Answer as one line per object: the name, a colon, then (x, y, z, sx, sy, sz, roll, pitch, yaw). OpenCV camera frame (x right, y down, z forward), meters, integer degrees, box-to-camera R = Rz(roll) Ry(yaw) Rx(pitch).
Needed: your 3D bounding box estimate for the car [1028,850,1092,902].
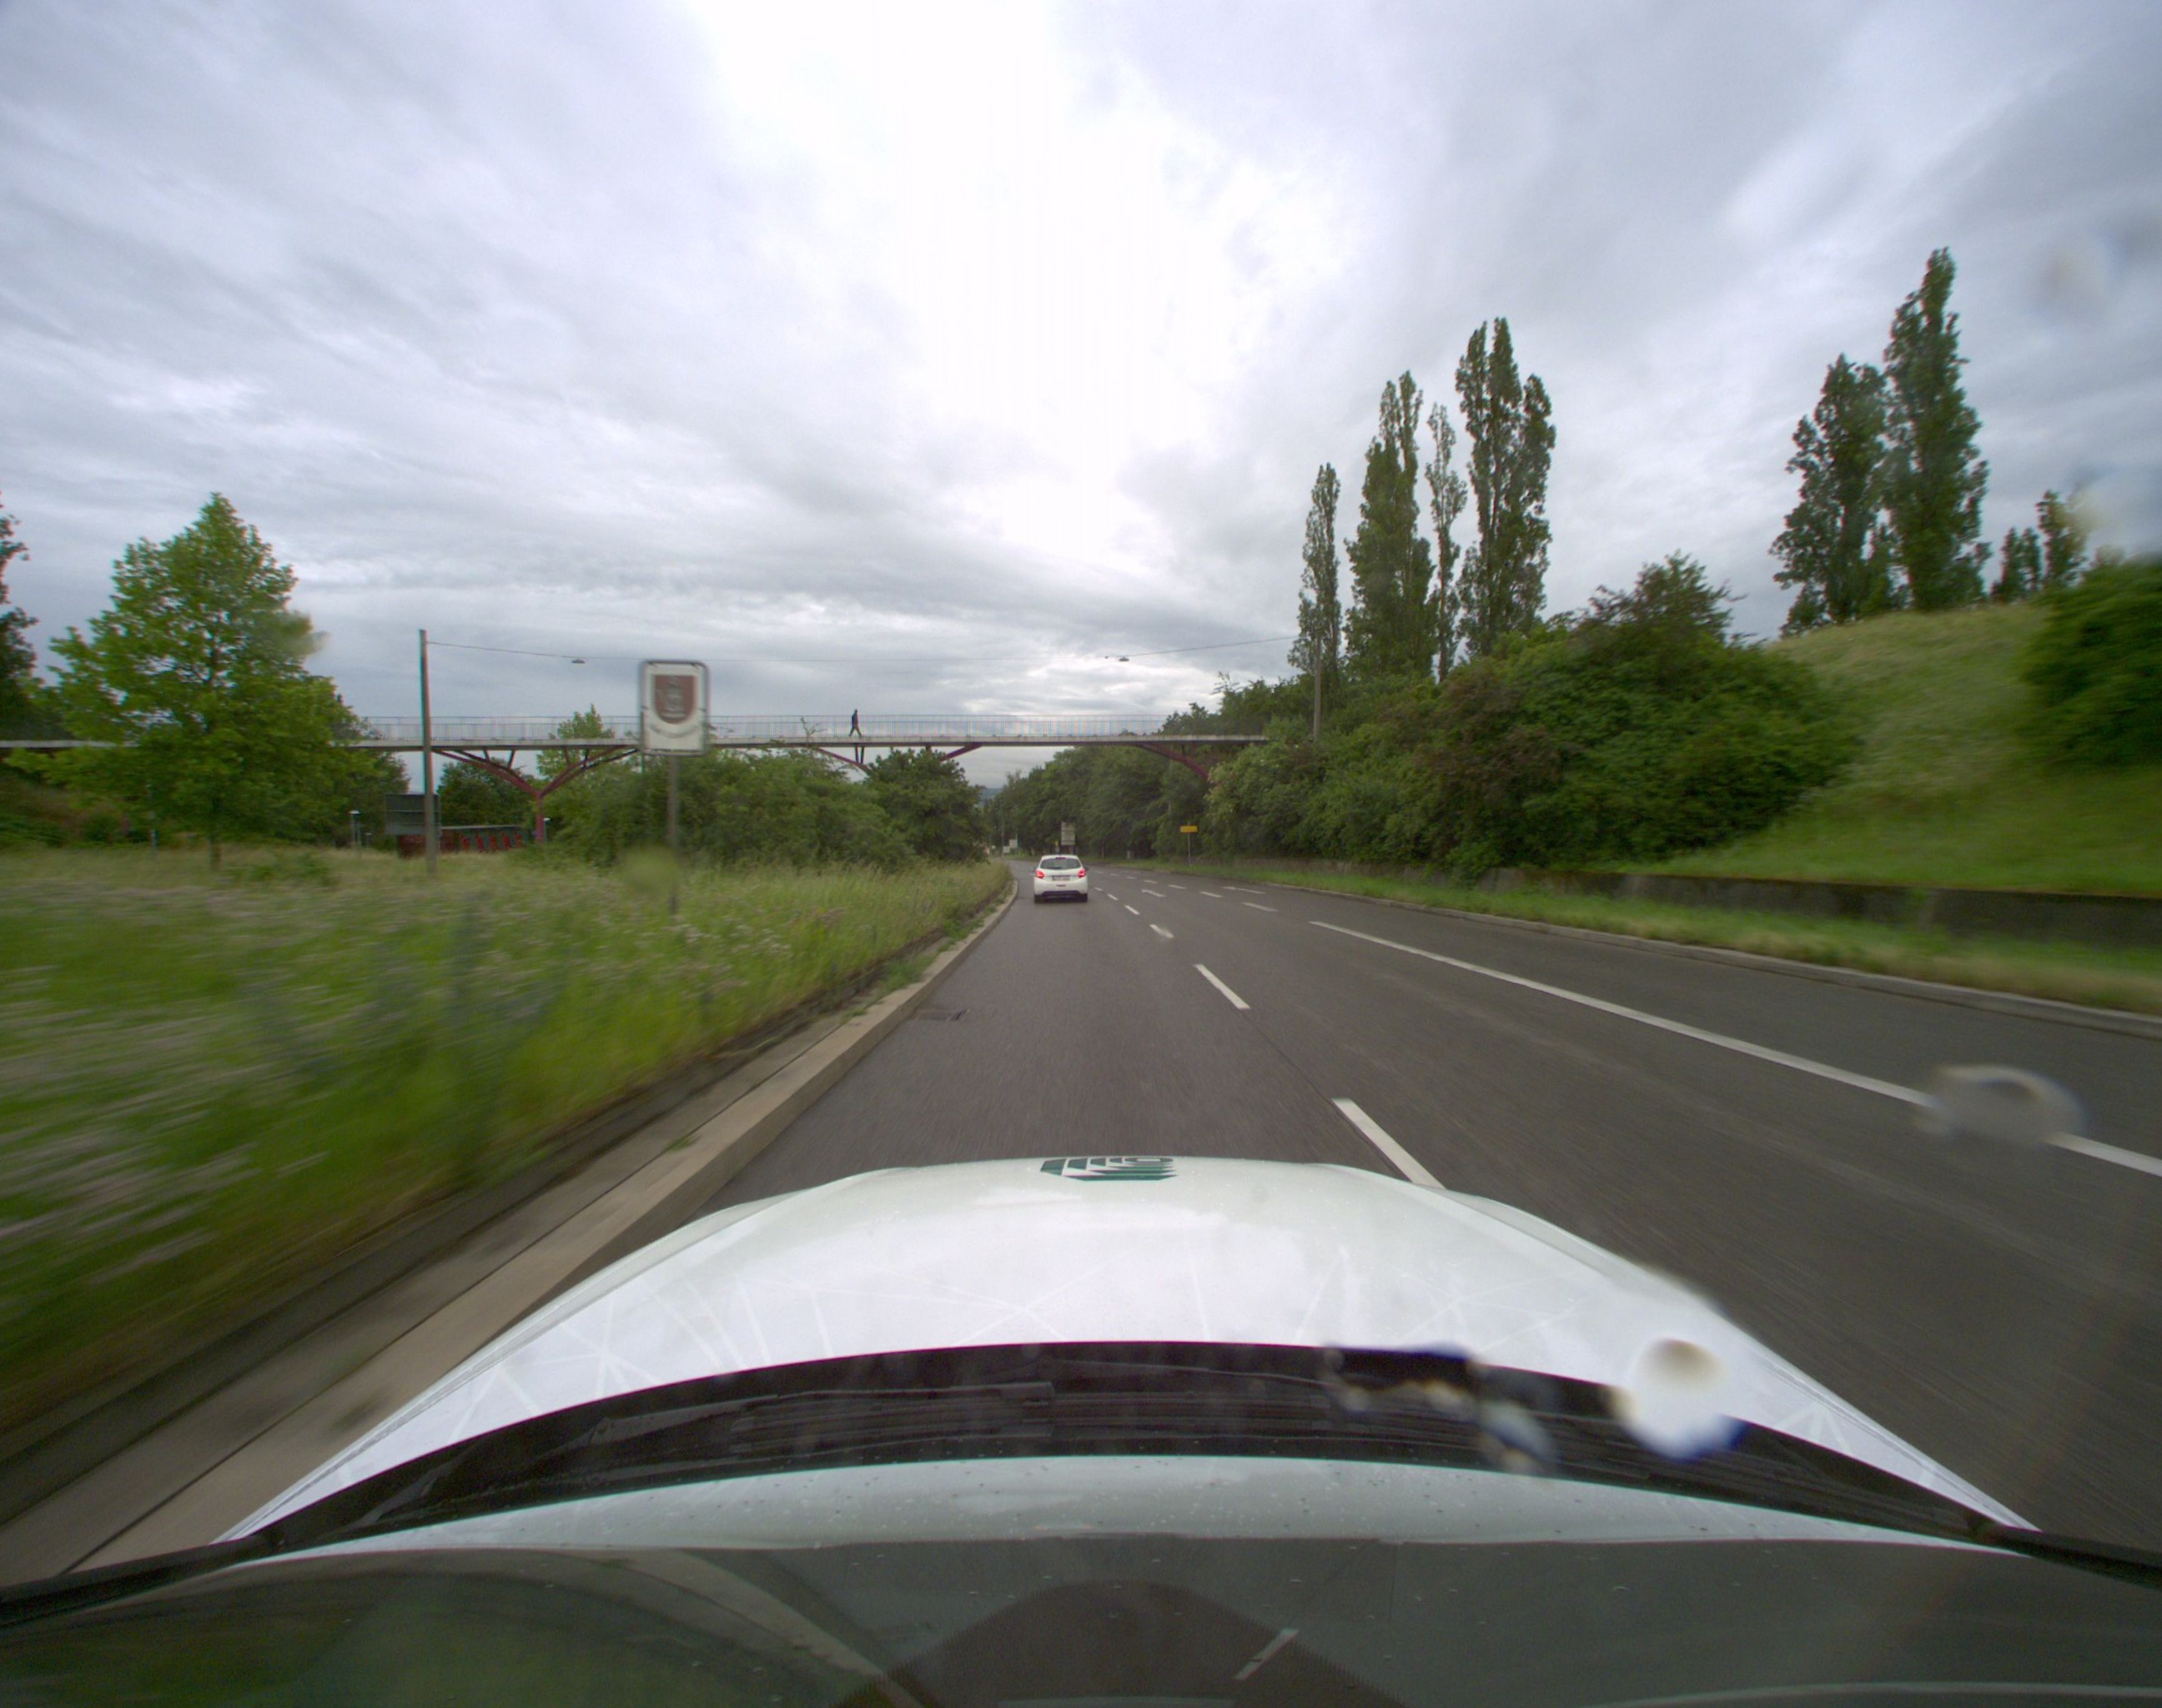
car: (-0.742, 0.657, 26.450, 1.865, 1.511, 3.893, 0, 1, -5)

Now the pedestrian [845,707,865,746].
pedestrian: (-13.226, -7.478, 47.685, 0.914, 2.143, 0.730, -3, 0, -8)
